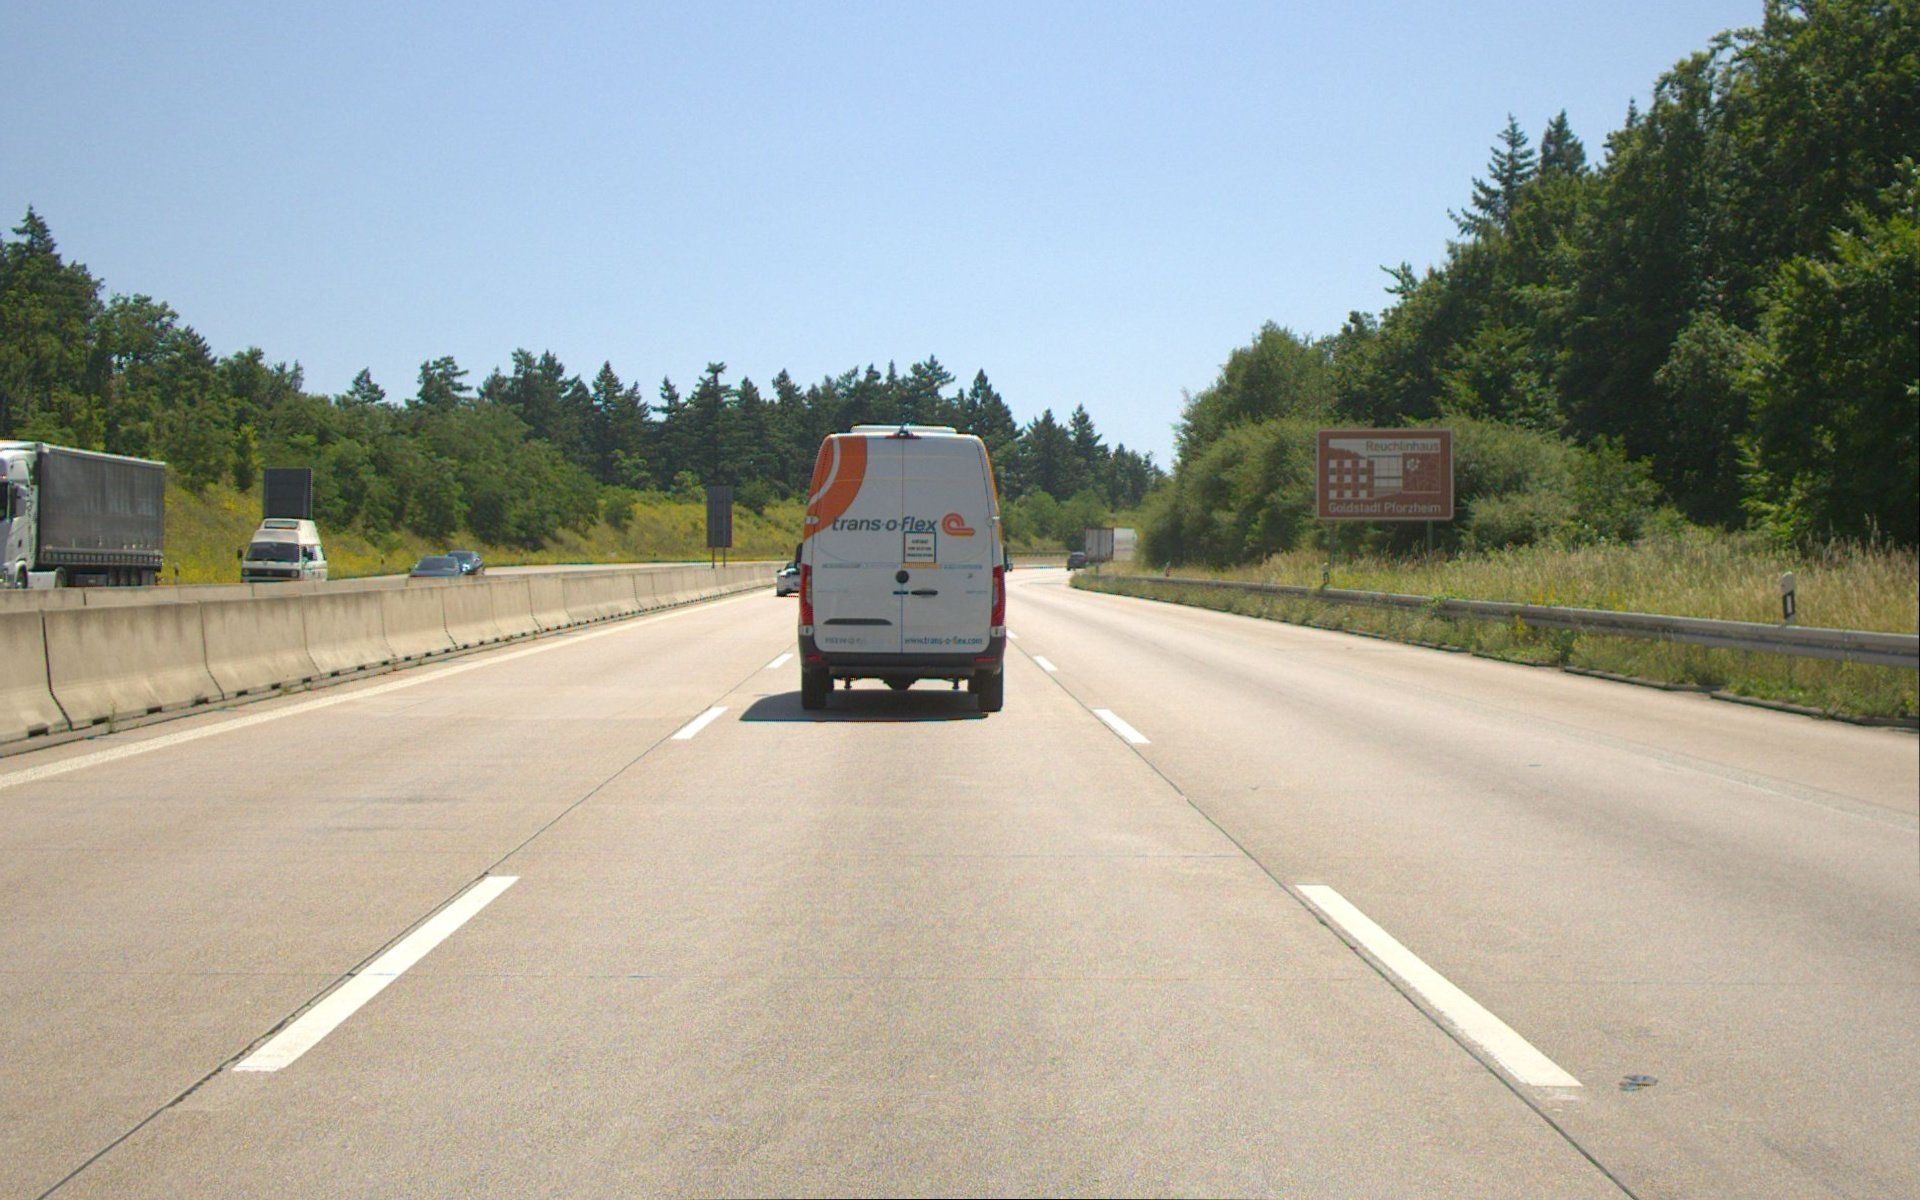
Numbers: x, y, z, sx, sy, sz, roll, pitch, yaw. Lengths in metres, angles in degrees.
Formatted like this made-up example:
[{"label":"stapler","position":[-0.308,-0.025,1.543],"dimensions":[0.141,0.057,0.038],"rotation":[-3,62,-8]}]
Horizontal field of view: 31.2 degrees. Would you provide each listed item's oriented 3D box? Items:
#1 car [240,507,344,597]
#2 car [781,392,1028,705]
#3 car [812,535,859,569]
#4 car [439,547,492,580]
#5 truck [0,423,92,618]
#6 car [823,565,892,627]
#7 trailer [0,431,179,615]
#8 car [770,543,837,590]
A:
[{"label":"car","position":[-19.230,-1.393,99.202],"dimensions":[1.993,2.477,5.179],"rotation":[1,1,0]},{"label":"car","position":[-0.563,-0.518,34.191],"dimensions":[2.226,2.834,5.454],"rotation":[1,1,-1]},{"label":"car","position":[-6.288,-2.441,174.419],"dimensions":[1.994,1.678,4.000],"rotation":[0,0,3]},{"label":"car","position":[-23.808,-1.747,165.577],"dimensions":[1.993,1.577,4.042],"rotation":[0,0,0]},{"label":"truck","position":[-23.629,-1.863,83.163],"dimensions":[3.256,4.489,7.985],"rotation":[0,0,0]},{"label":"car","position":[-3.050,-0.127,102.849],"dimensions":[1.993,1.788,4.000],"rotation":[0,0,-1]},{"label":"trailer","position":[-23.658,-1.921,90.596],"dimensions":[3.256,4.489,13.120],"rotation":[0,0,0]},{"label":"car","position":[-5.665,-1.196,124.834],"dimensions":[1.994,1.678,4.000],"rotation":[0,0,3]}]
